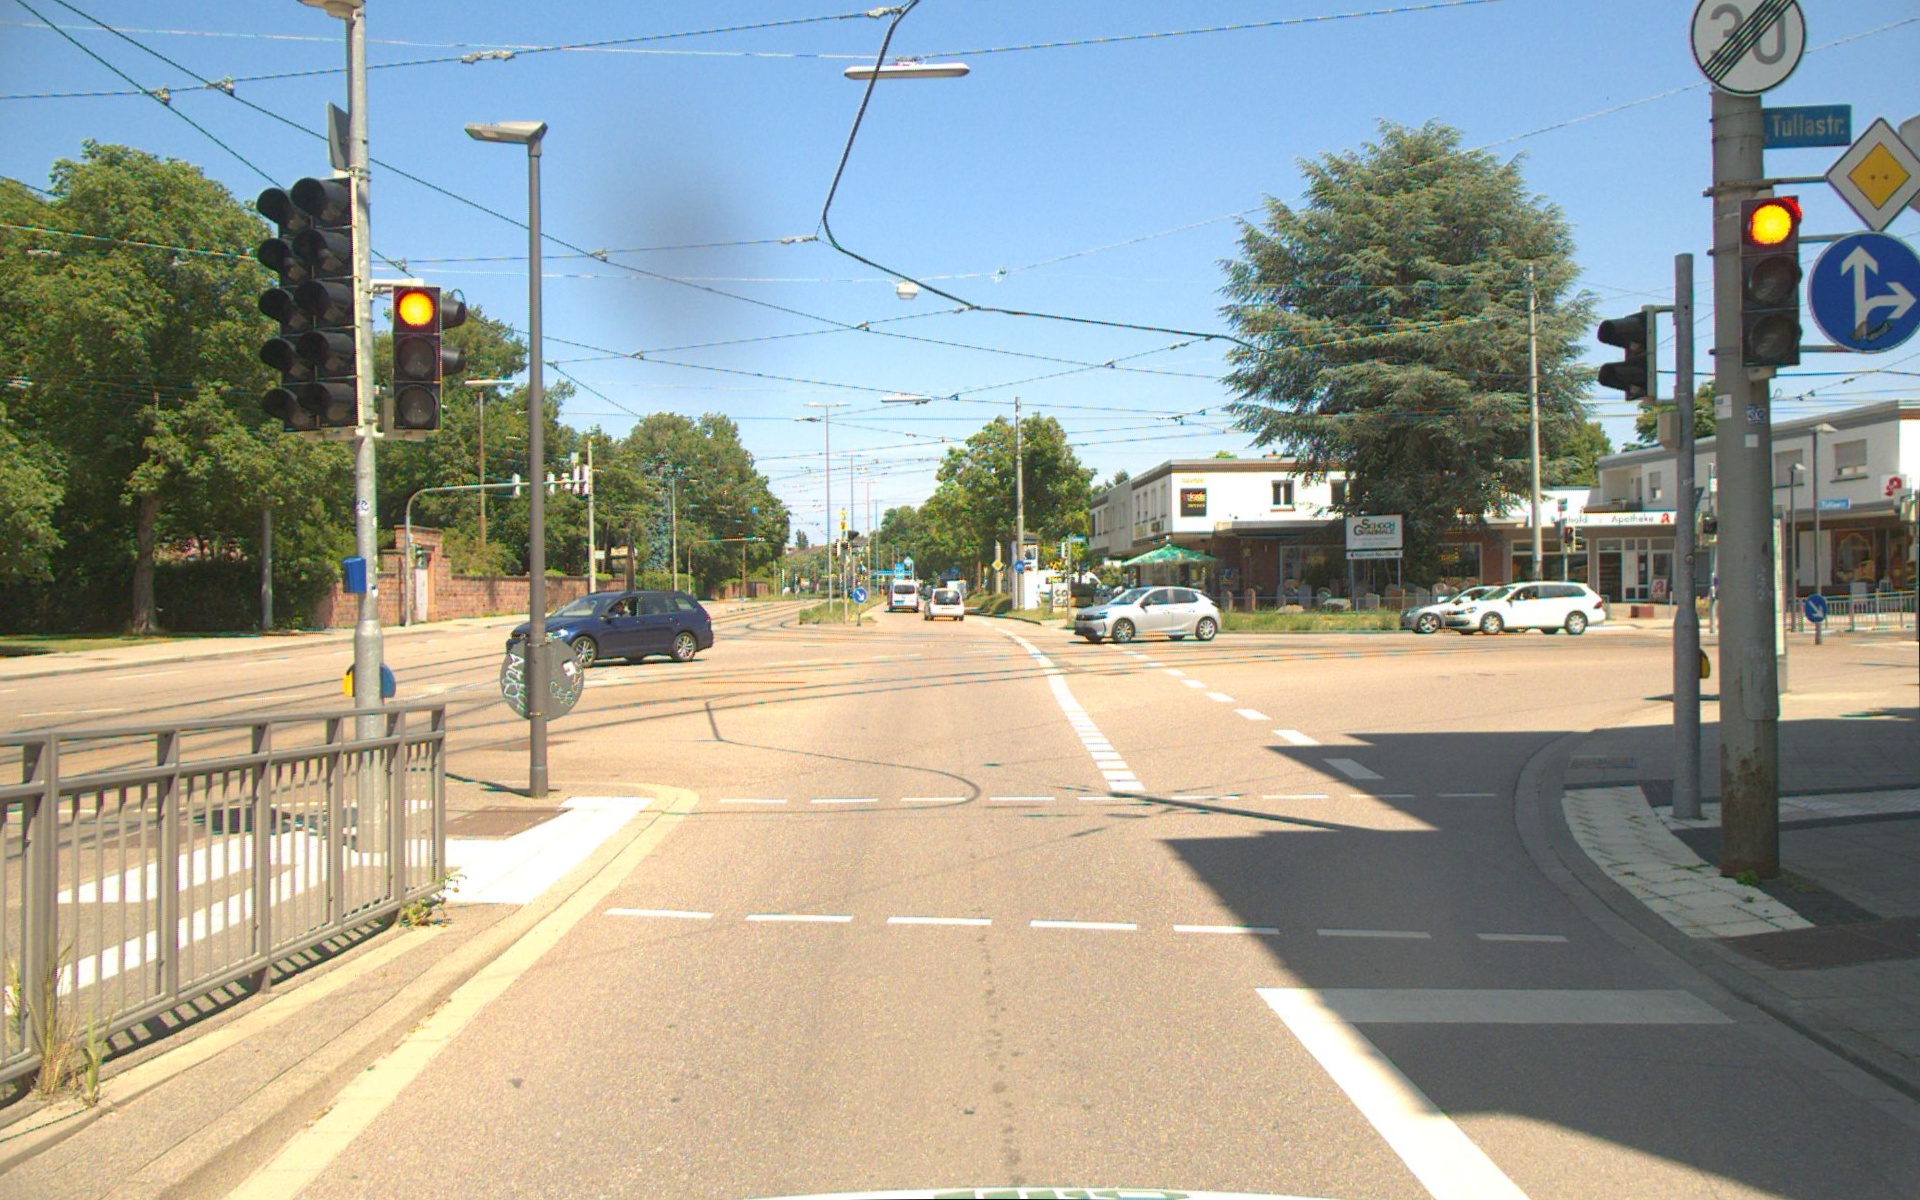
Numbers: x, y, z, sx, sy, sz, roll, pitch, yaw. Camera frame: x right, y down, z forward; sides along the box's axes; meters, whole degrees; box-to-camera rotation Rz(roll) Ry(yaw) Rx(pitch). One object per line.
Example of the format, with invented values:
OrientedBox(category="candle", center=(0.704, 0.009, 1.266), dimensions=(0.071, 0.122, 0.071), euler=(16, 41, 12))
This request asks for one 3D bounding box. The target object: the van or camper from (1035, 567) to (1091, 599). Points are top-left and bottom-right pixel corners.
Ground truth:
OrientedBox(category="van or camper", center=(8.942, -1.465, 143.546), dimensions=(4.662, 2.717, 2.134), euler=(-1, 0, -3))

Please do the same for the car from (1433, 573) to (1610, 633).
OrientedBox(category="car", center=(15.944, 0.073, 47.097), dimensions=(4.399, 1.516, 1.821), euler=(-2, 0, -7))

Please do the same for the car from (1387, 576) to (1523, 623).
OrientedBox(category="car", center=(15.236, -0.022, 51.019), dimensions=(3.749, 1.375, 1.643), euler=(-1, 0, 2))

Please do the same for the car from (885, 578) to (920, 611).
OrientedBox(category="car", center=(-3.418, -0.360, 97.924), dimensions=(1.954, 1.892, 3.997), euler=(-1, 0, -3))

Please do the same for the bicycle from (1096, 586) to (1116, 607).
OrientedBox(category="bicycle", center=(7.478, -0.205, 84.609), dimensions=(1.012, 1.032, 2.639), euler=(-1, 0, 5))

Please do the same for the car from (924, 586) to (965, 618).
OrientedBox(category="car", center=(-0.752, 0.085, 77.325), dimensions=(1.638, 1.460, 3.471), euler=(-1, 0, -5))

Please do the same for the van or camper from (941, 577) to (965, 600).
OrientedBox(category="van or camper", center=(-0.563, -0.900, 130.376), dimensions=(1.883, 1.803, 3.999), euler=(-1, 0, -1))

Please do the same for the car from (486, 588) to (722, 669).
OrientedBox(category="car", center=(-7.031, 0.516, 33.013), dimensions=(1.828, 1.467, 4.455), euler=(0, 1, 39))

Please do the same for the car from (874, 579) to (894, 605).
OrientedBox(category="car", center=(-5.990, -0.628, 129.940), dimensions=(1.392, 2.049, 3.626), euler=(-1, 0, -6))

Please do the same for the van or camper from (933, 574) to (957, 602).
OrientedBox(category="van or camper", center=(-1.379, -1.126, 152.833), dimensions=(1.954, 2.507, 3.997), euler=(-1, 0, -4))

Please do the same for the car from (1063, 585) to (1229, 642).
OrientedBox(category="car", center=(4.896, 0.327, 43.500), dimensions=(3.983, 1.386, 1.811), euler=(-1, 0, -23))
